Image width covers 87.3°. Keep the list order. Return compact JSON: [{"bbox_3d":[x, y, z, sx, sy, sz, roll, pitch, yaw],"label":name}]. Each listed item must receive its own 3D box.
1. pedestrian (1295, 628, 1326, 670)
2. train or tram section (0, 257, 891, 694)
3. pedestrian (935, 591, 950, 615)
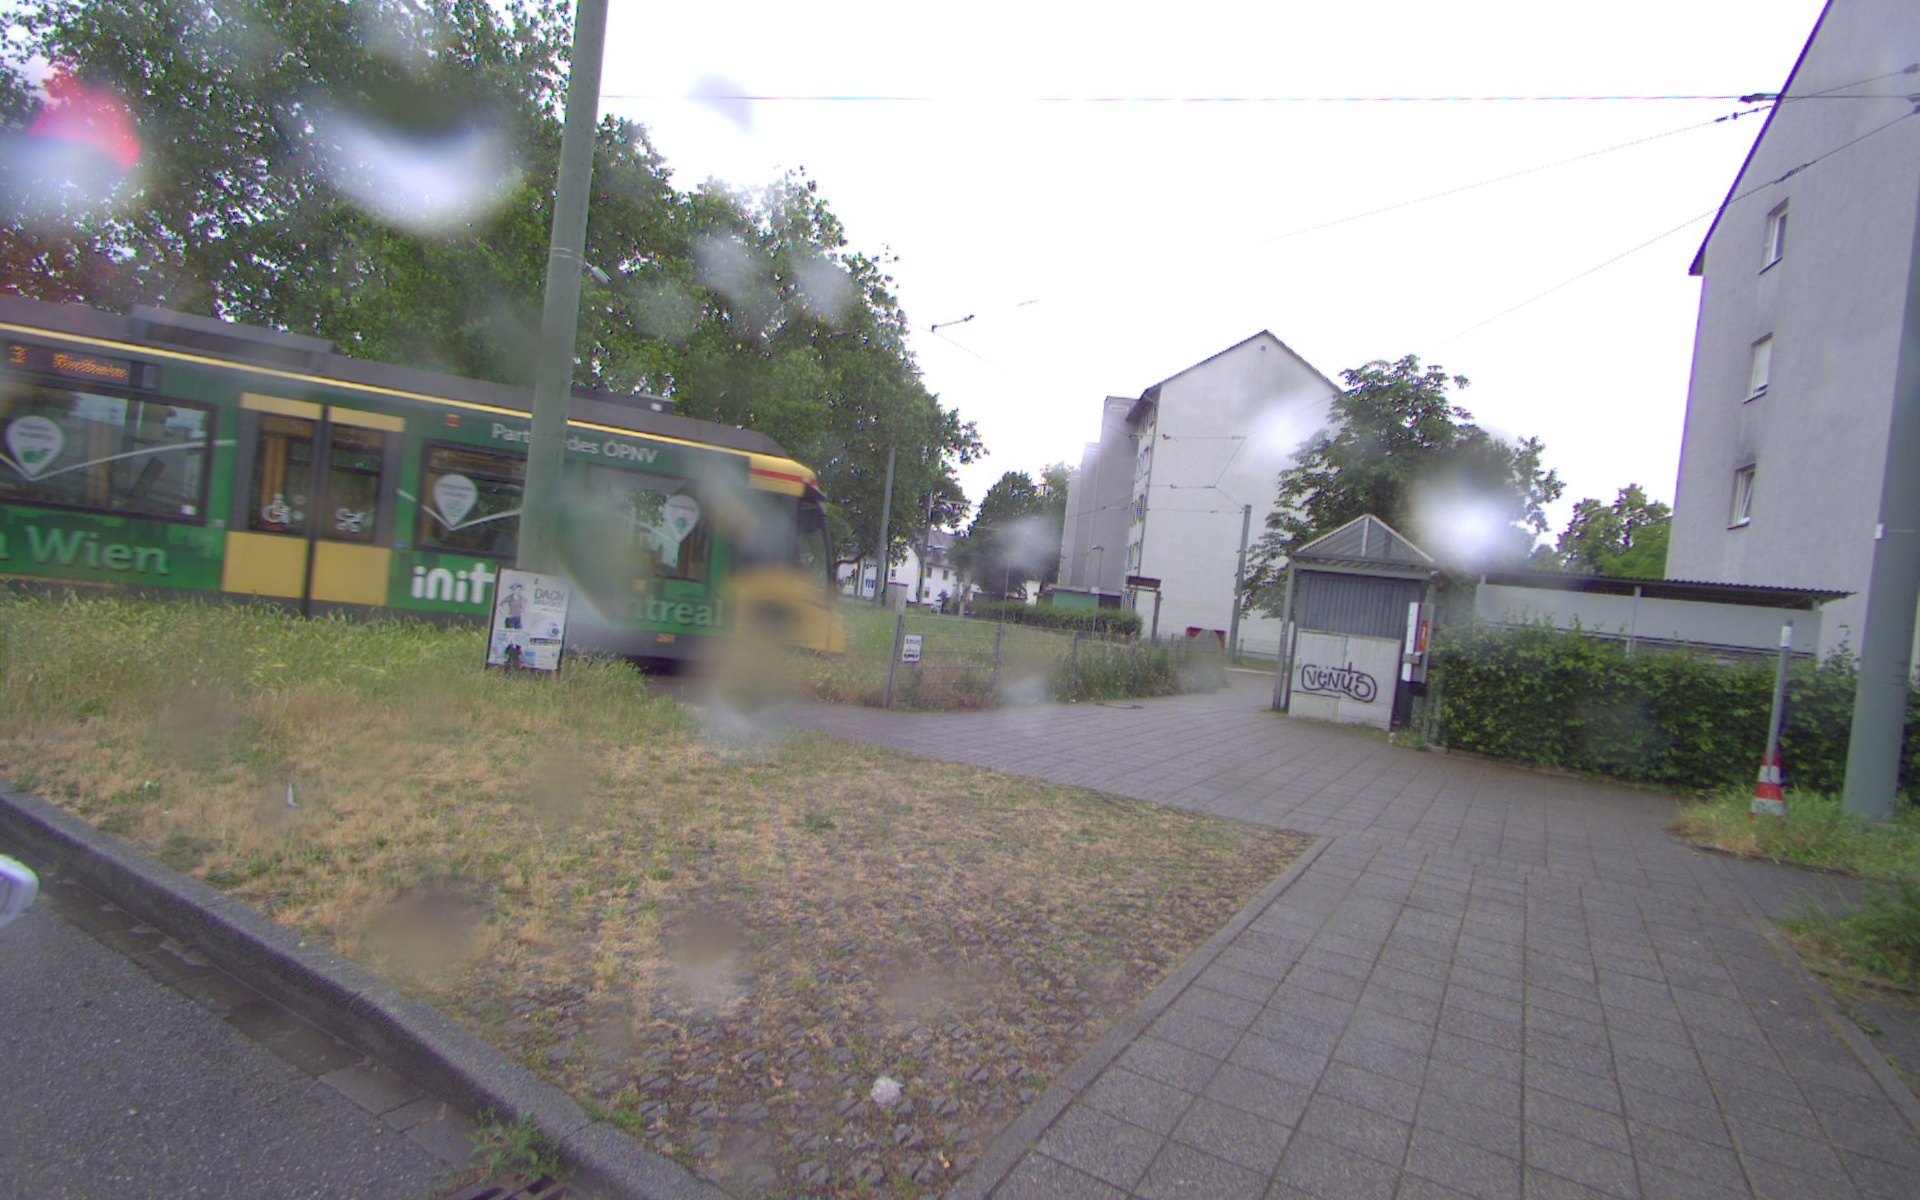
[{"bbox_3d":[15.001,2.089,43.064,0.806,1.674,0.889,6,-1,41],"label":"pedestrian"},{"bbox_3d":[-7.097,-1.222,12.297,12.046,3.597,2.753,7,0,-25],"label":"train or tram section"},{"bbox_3d":[-1.462,0.280,82.565,1.022,1.811,0.818,7,-1,-3],"label":"pedestrian"}]
